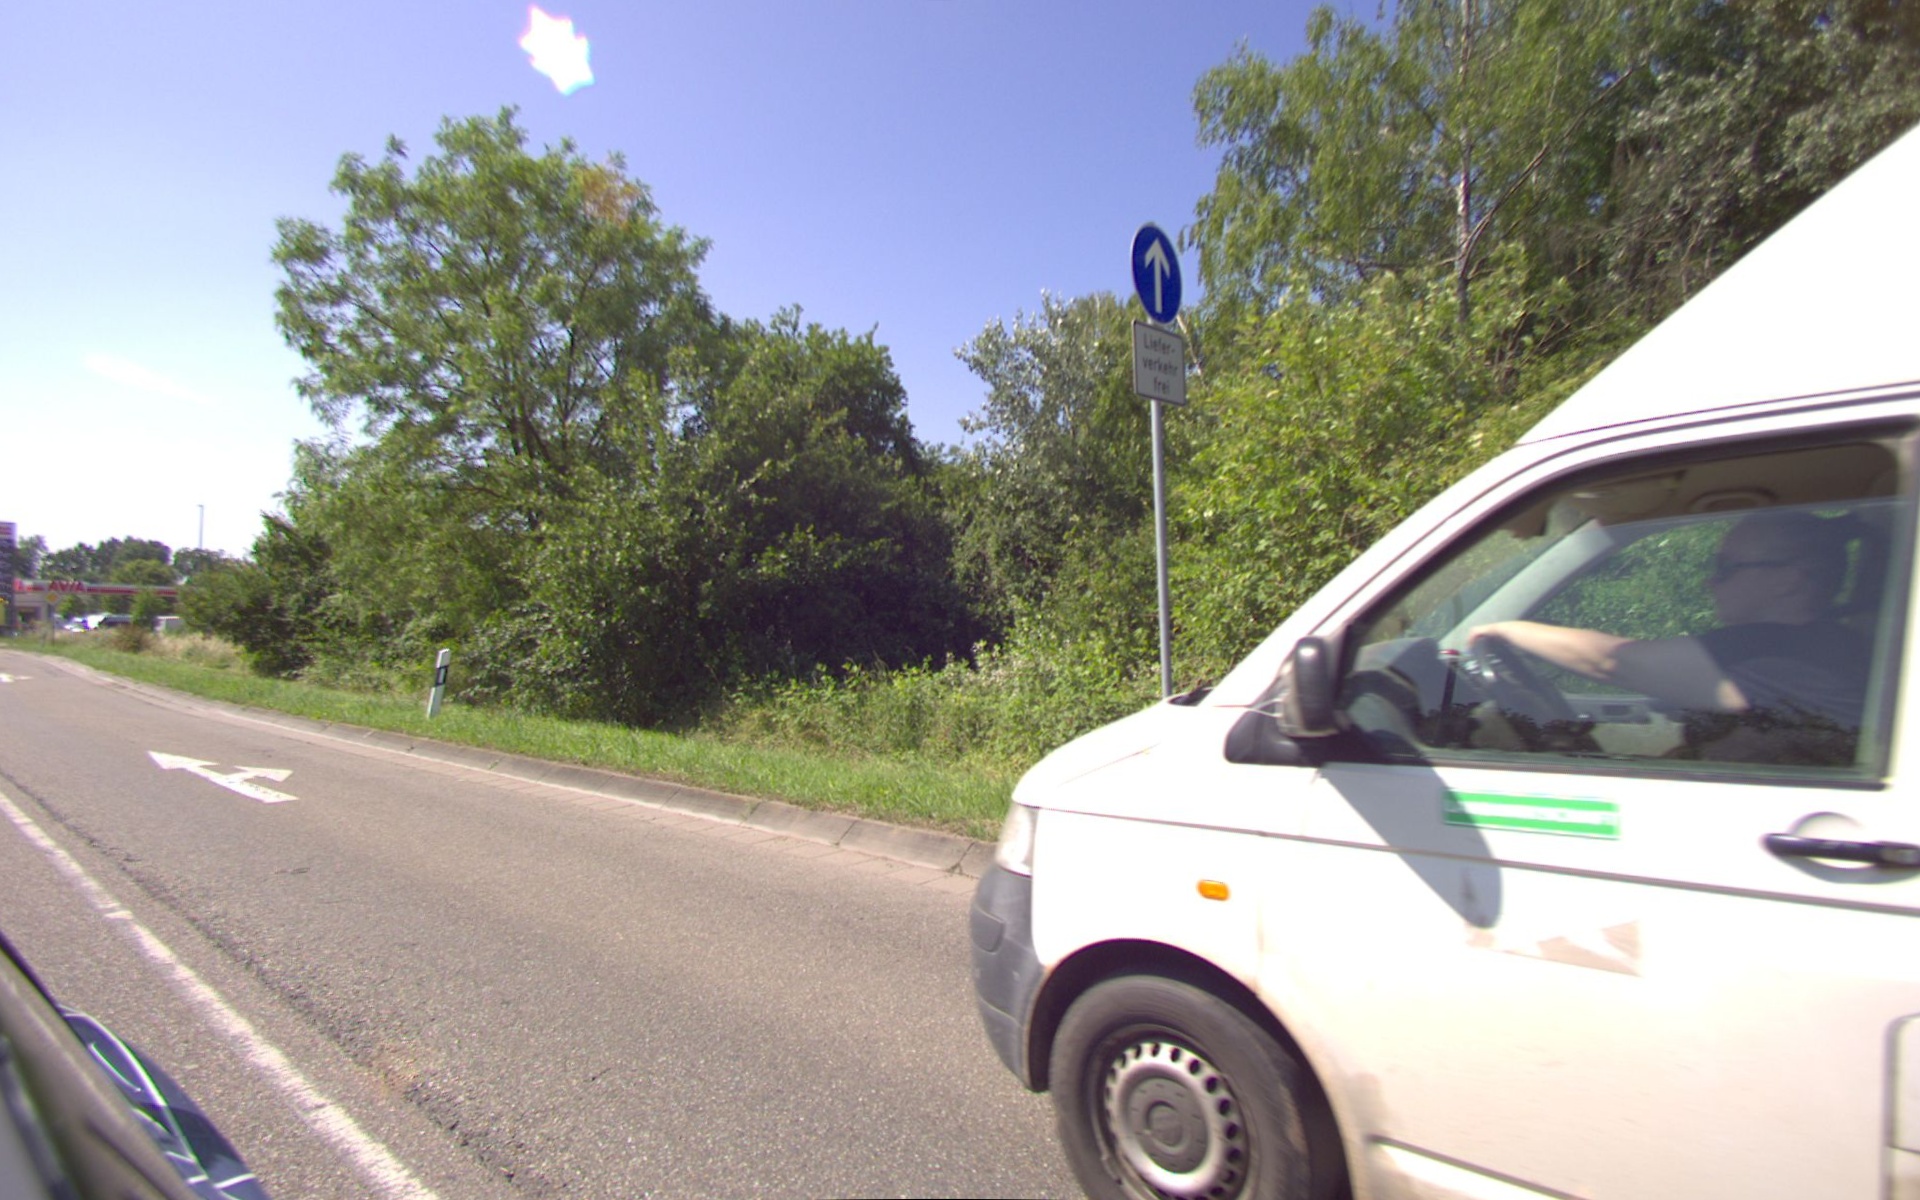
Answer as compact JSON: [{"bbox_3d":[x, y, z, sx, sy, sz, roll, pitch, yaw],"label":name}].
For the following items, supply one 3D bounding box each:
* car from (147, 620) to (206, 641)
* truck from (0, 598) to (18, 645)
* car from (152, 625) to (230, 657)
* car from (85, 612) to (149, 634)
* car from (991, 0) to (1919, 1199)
[{"bbox_3d":[-74.689,2.934,96.518,1.985,1.962,3.974,-1,-2,20],"label":"car"},{"bbox_3d":[-75.171,1.506,72.927,3.880,3.420,10.205,-1,-2,39],"label":"truck"},{"bbox_3d":[-53.950,2.847,71.054,1.997,2.184,3.948,-1,-2,38],"label":"car"},{"bbox_3d":[-76.082,2.096,91.413,1.985,1.962,3.973,0,-2,20],"label":"car"},{"bbox_3d":[2.546,0.176,1.619,4.906,2.418,1.892,-1,-2,40],"label":"car"}]
